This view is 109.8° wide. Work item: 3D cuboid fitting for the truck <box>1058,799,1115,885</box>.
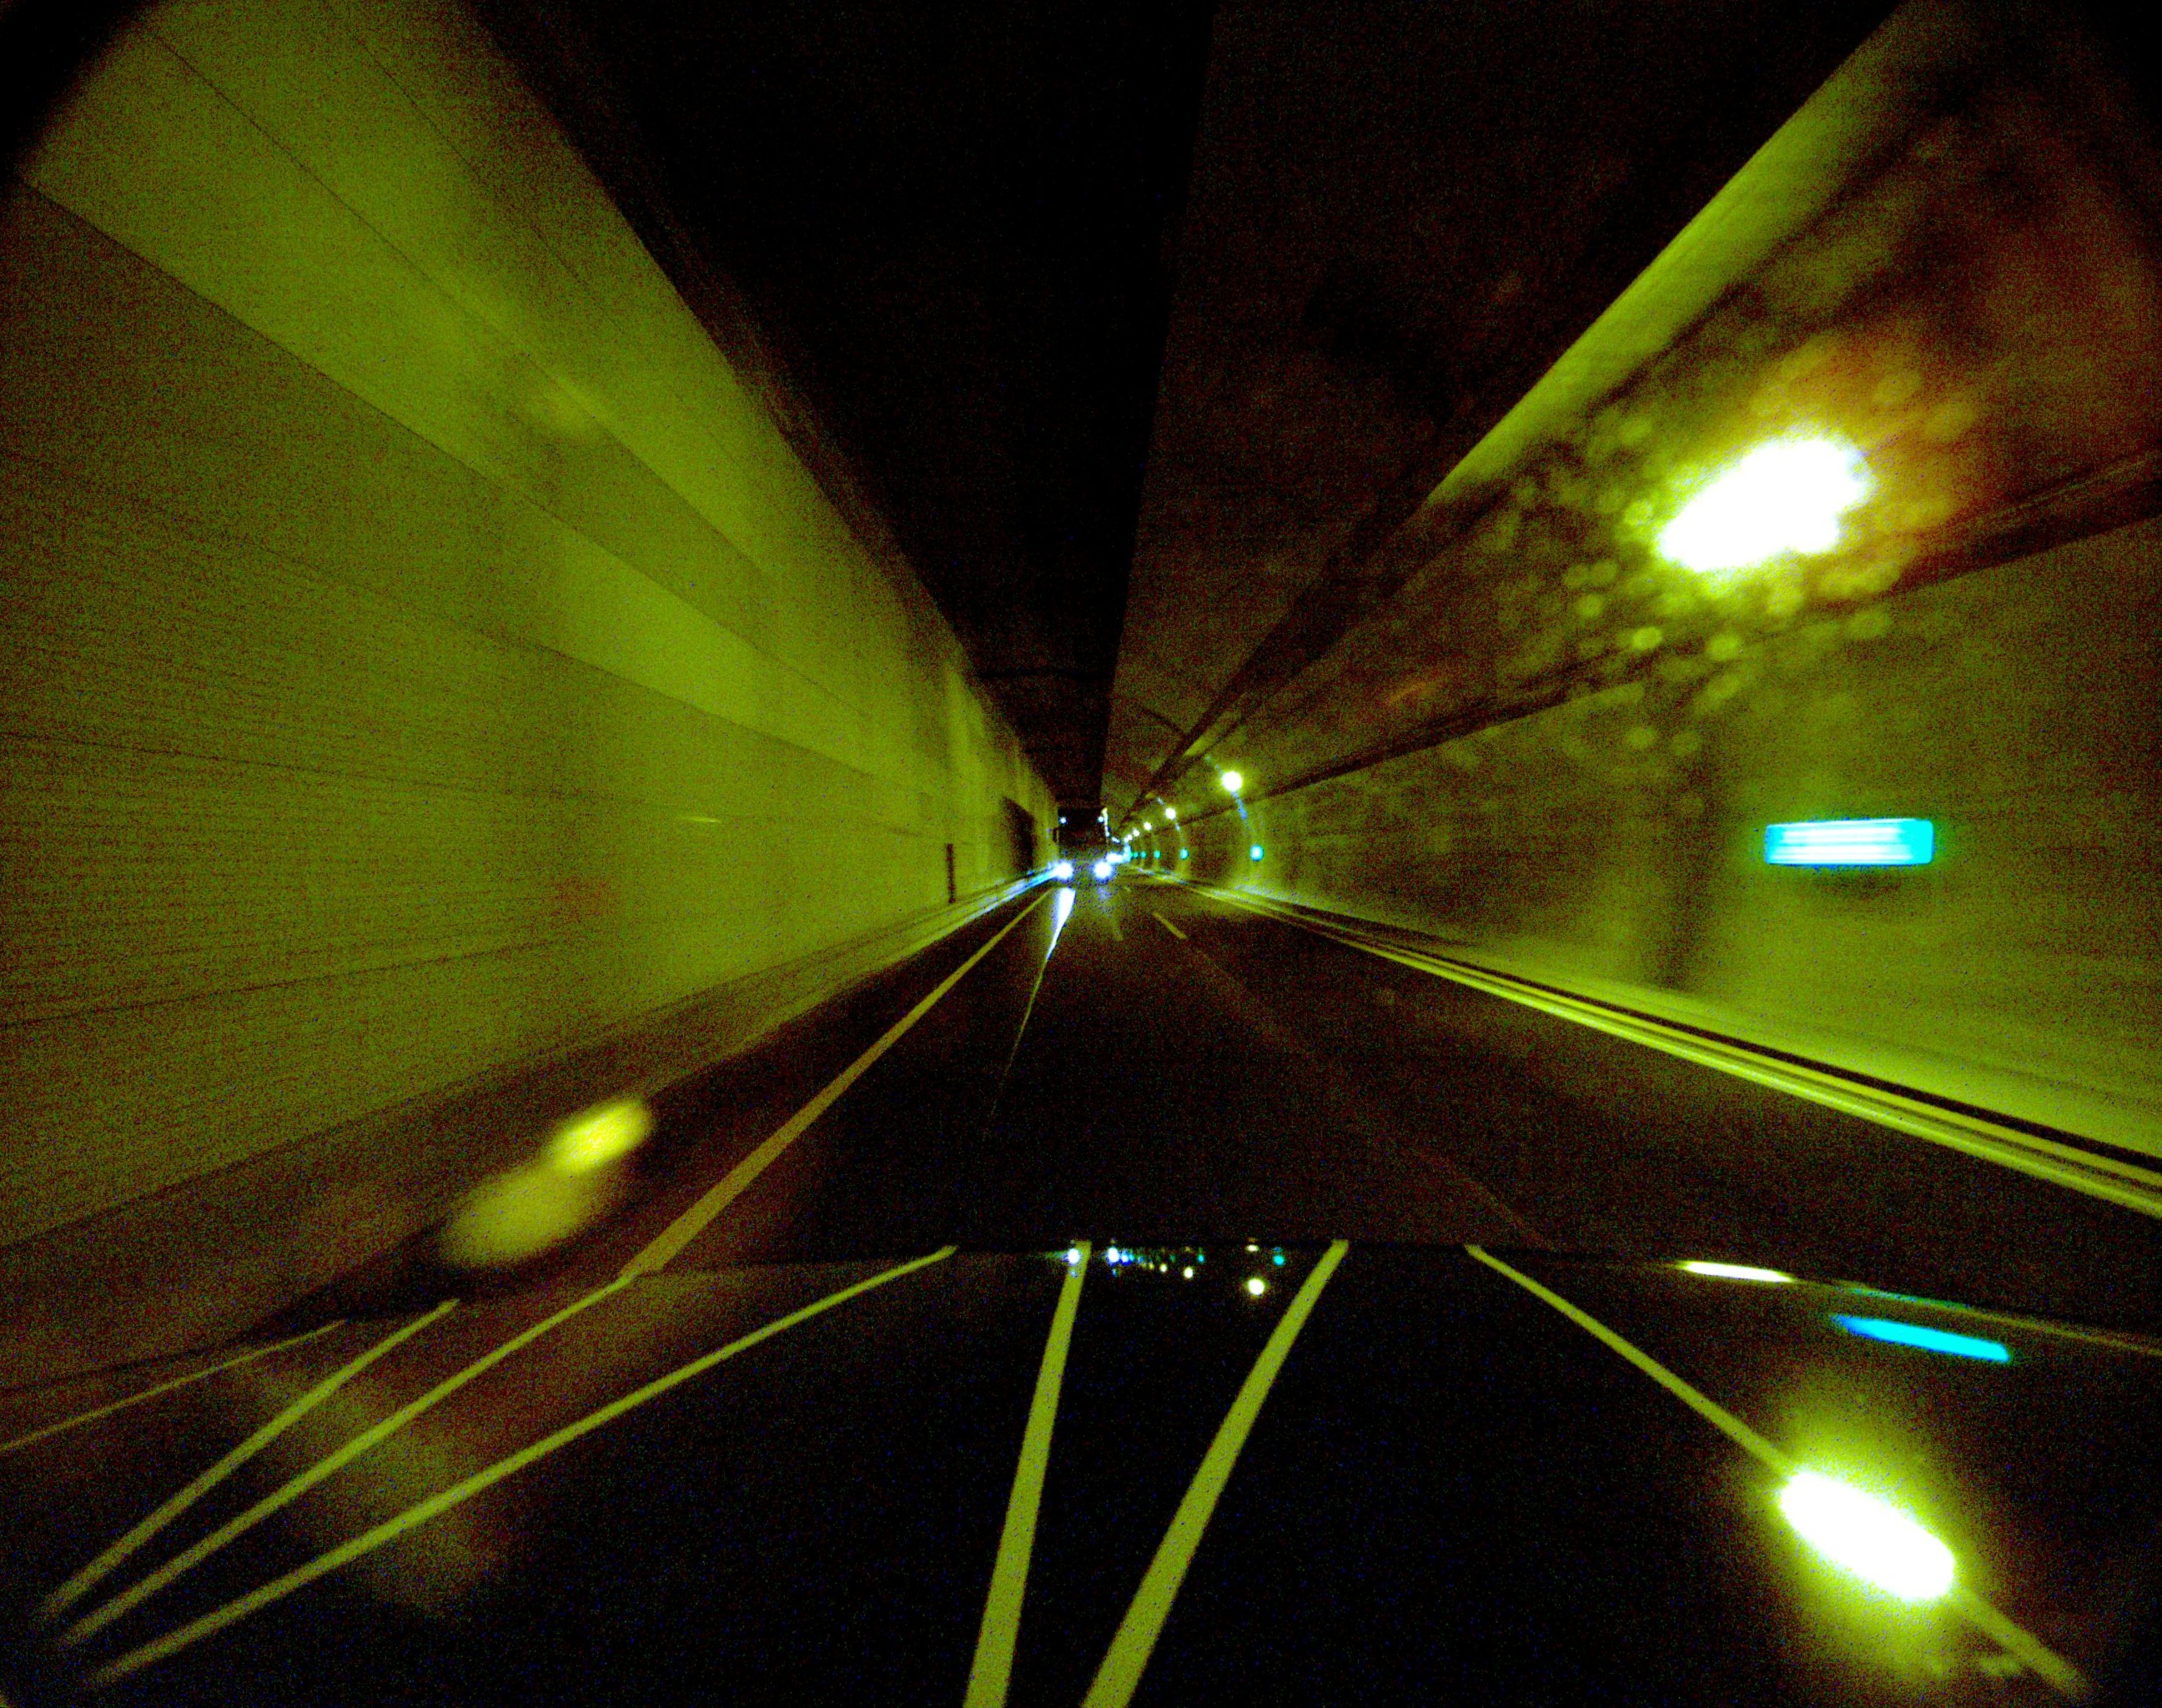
[{"bbox_3d":[0.287,-0.616,41.144,2.769,4.198,7.976,0,1,0],"label":"truck"}]
